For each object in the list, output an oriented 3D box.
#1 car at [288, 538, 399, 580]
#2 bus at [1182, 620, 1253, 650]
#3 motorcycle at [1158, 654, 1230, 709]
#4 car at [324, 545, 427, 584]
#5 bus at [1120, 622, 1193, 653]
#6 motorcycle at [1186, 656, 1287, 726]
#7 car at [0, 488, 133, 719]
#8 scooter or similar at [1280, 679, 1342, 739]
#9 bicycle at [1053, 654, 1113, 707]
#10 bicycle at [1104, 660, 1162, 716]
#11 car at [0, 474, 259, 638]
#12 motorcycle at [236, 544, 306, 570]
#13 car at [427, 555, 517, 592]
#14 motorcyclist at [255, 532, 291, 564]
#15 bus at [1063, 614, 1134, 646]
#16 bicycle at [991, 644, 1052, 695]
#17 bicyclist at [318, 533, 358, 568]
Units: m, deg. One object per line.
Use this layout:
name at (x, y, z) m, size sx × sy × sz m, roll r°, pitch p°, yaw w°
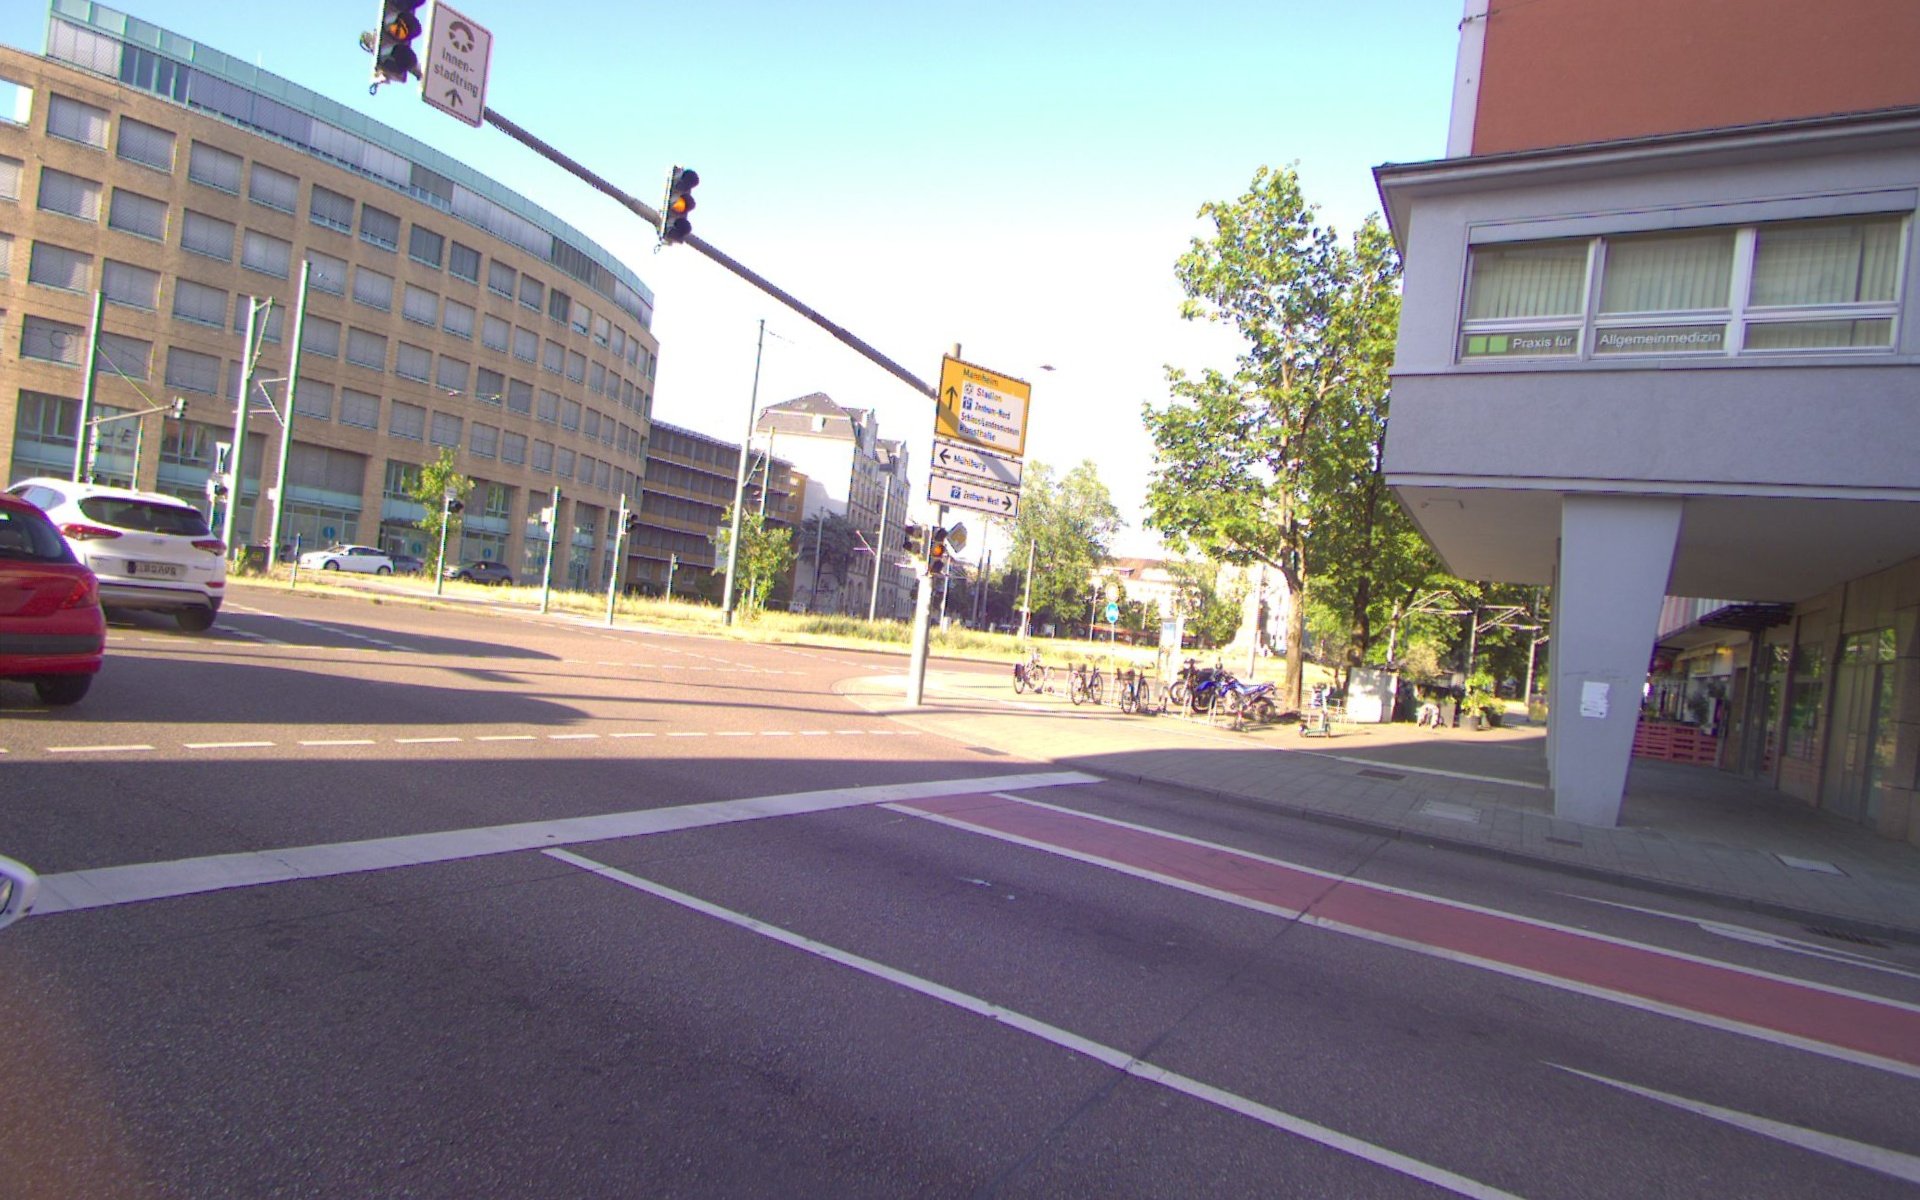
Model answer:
car at (-30.459, -1.998, 49.797) m, size 1.961 × 1.509 × 4.171 m, roll 6°, pitch -1°, yaw 29°
bus at (38.298, 5.181, 149.409) m, size 10.936 × 3.248 × 2.340 m, roll 7°, pitch -1°, yaw -24°
motorcycle at (6.487, 2.268, 27.853) m, size 2.044 × 1.324 × 0.880 m, roll 7°, pitch -1°, yaw -44°
car at (-32.528, -1.979, 56.087) m, size 1.953 × 1.555 × 4.488 m, roll 6°, pitch -1°, yaw 32°
bus at (28.363, 5.425, 144.731) m, size 10.945 × 3.248 × 2.338 m, roll 7°, pitch -1°, yaw -27°
motorcycle at (6.893, 2.244, 25.052) m, size 2.224 × 1.409 × 0.845 m, roll 7°, pitch -1°, yaw 19°
car at (-7.946, -0.170, 7.331) m, size 3.934 × 1.479 × 1.673 m, roll 6°, pitch -2°, yaw 32°
scooter or similar at (7.884, 2.447, 22.585) m, size 1.549 × 1.251 × 0.479 m, roll 6°, pitch 1°, yaw -40°
bicycle at (2.917, 1.861, 23.691) m, size 0.584 × 1.129 × 2.003 m, roll 7°, pitch 1°, yaw 29°
bicycle at (3.988, 1.997, 23.073) m, size 0.583 × 1.129 × 2.058 m, roll 7°, pitch 1°, yaw 28°
car at (-11.165, -0.614, 12.918) m, size 4.199 × 1.626 × 1.920 m, roll 6°, pitch -2°, yaw 32°
motorcycle at (-35.234, -2.180, 51.487) m, size 1.014 × 0.975 × 2.722 m, roll 6°, pitch -1°, yaw 30°
car at (-27.005, -1.446, 55.764) m, size 1.790 × 1.509 × 4.058 m, roll 6°, pitch -1°, yaw 30°
motorcyclist at (-35.176, -2.648, 51.499) m, size 1.014 × 1.453 × 1.067 m, roll 6°, pitch 0°, yaw 31°
bus at (19.263, 4.211, 139.080) m, size 11.021 × 3.248 × 2.387 m, roll 8°, pitch -1°, yaw -37°
bicycle at (1.527, 1.685, 24.516) m, size 0.584 × 1.129 × 1.974 m, roll 7°, pitch 1°, yaw 29°
bicyclist at (-32.030, -2.569, 51.801) m, size 1.134 × 1.591 × 1.225 m, roll 6°, pitch 0°, yaw 30°
